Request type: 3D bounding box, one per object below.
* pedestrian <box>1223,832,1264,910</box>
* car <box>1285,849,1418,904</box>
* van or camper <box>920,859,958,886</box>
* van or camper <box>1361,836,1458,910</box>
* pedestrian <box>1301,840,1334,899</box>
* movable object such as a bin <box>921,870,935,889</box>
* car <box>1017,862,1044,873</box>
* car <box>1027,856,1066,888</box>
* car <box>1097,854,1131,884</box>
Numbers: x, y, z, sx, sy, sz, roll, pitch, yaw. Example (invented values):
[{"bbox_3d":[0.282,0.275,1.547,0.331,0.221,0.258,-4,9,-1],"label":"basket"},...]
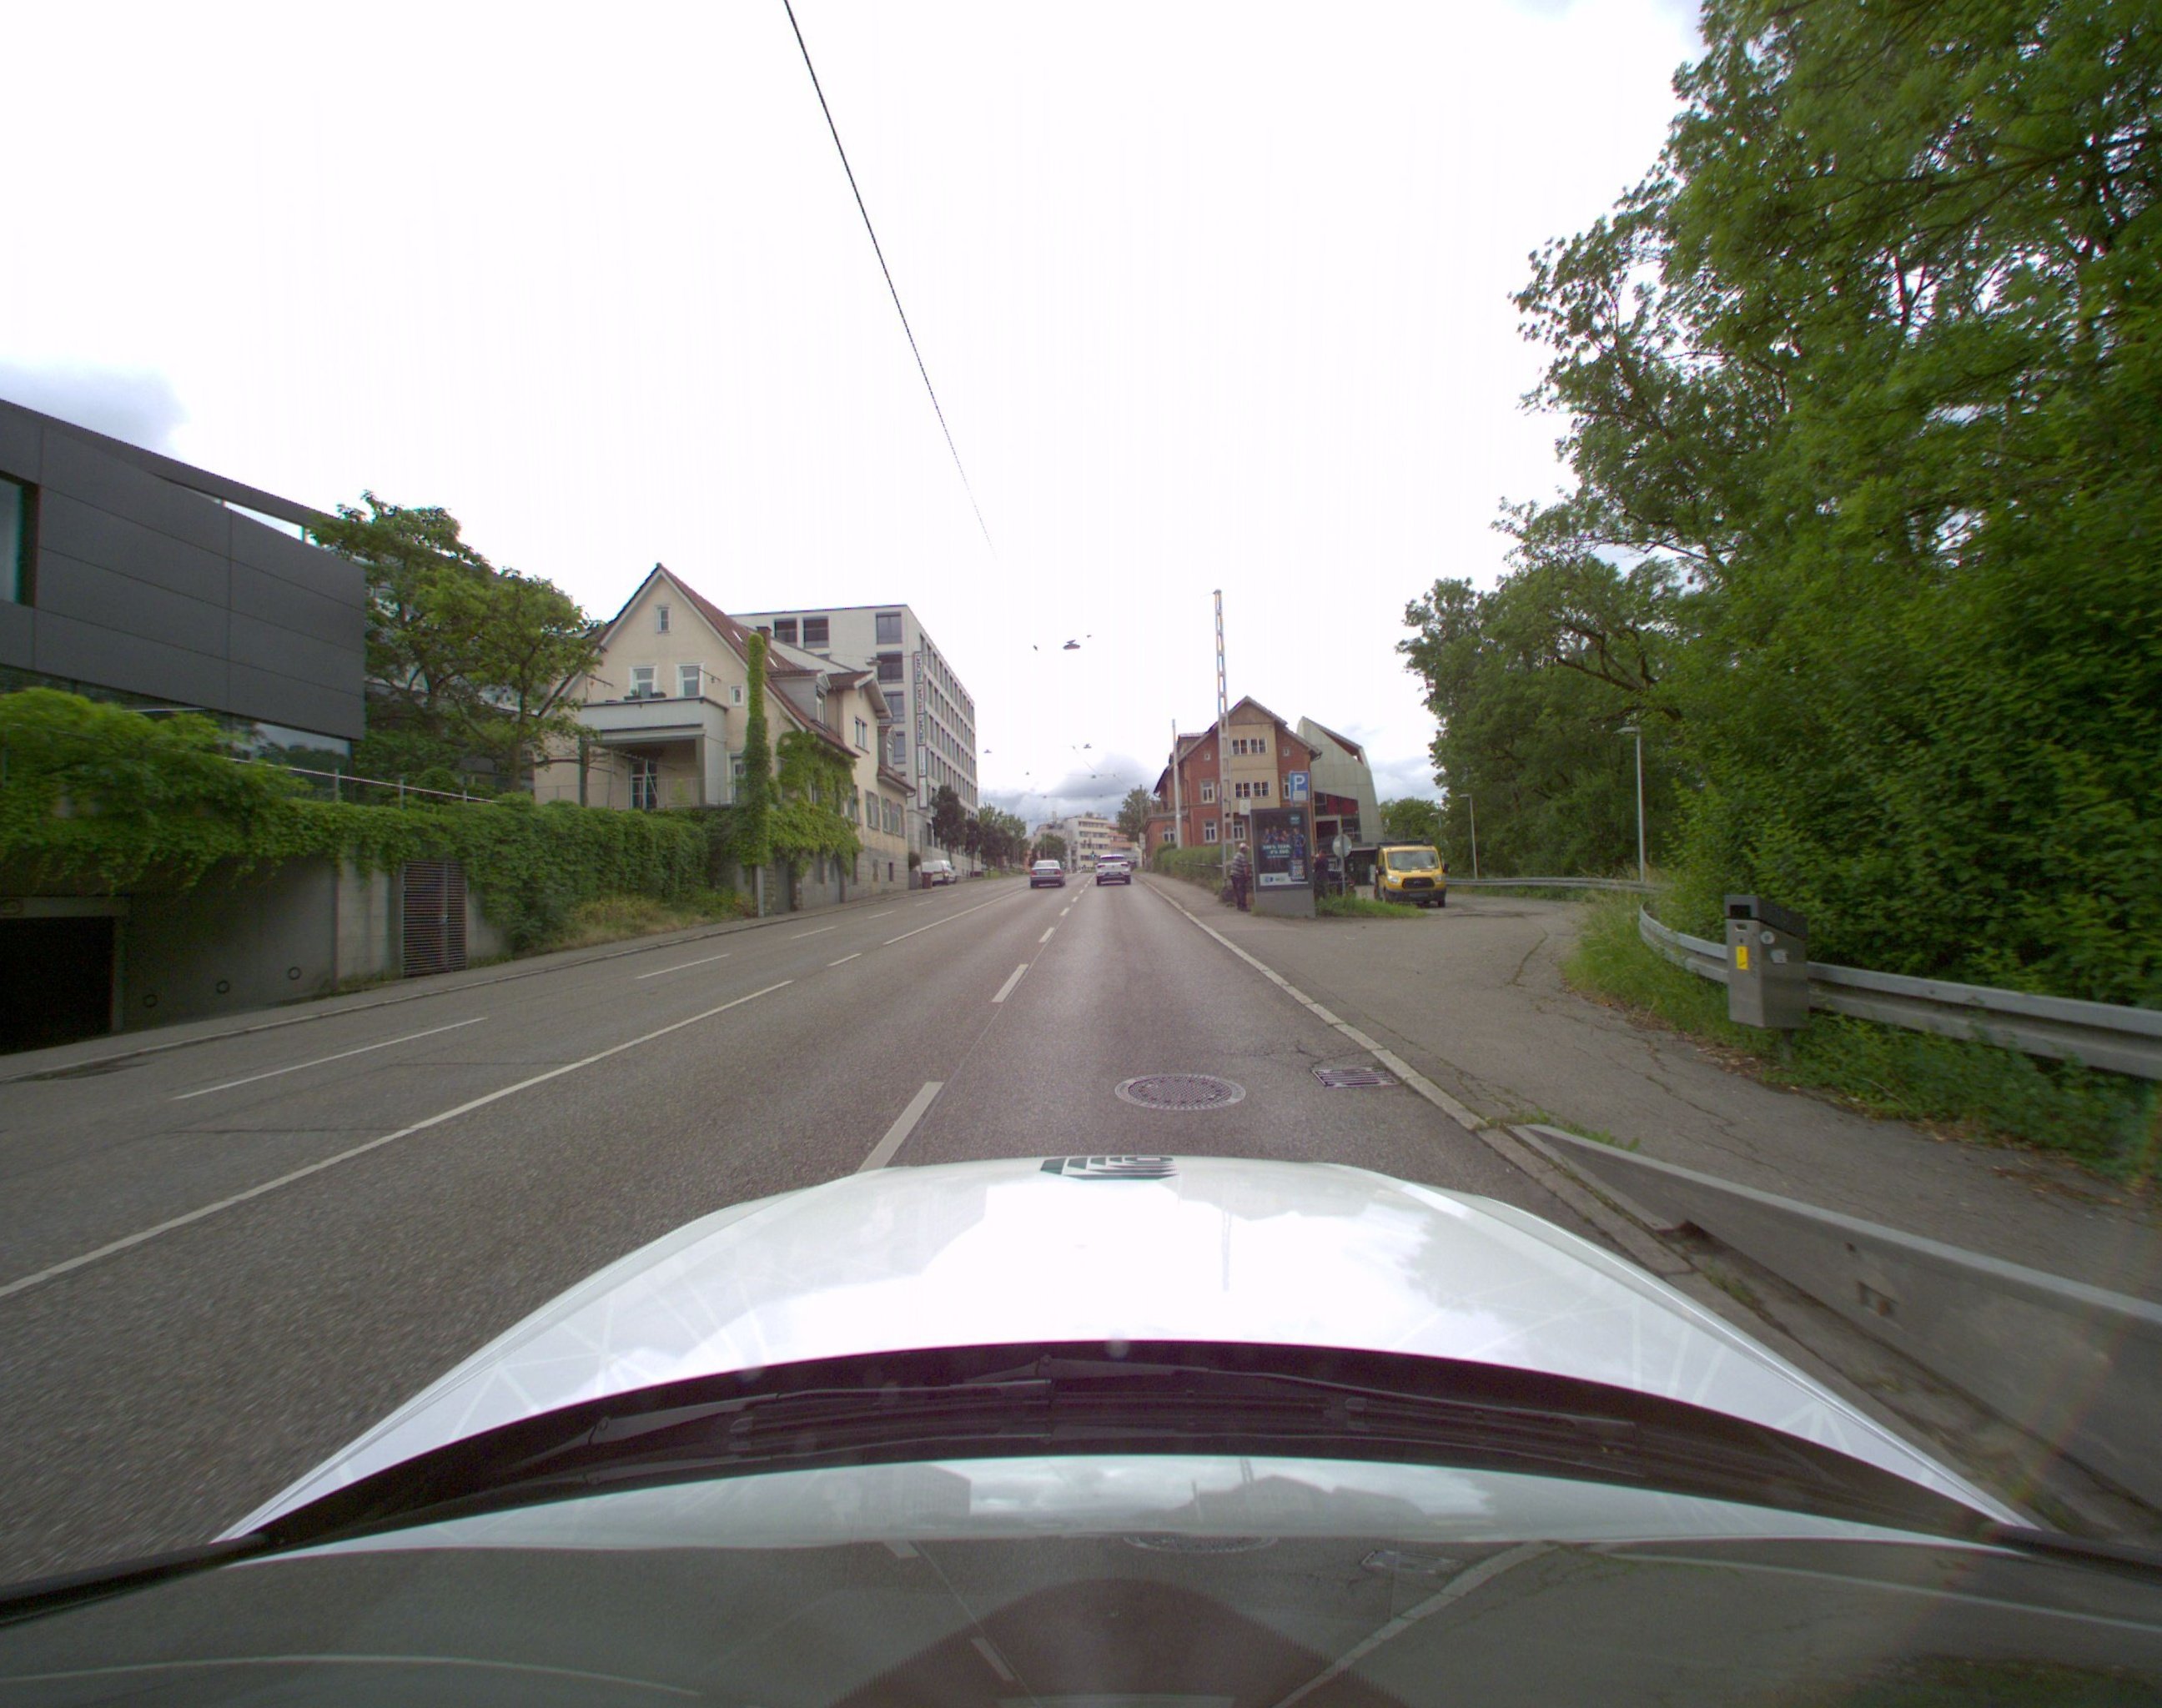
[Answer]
[{"bbox_3d":[4.095,0.419,20.585,0.808,1.884,0.950,-4,0,6],"label":"pedestrian"},{"bbox_3d":[7.964,0.647,24.187,3.473,1.541,1.579,0,0,3],"label":"car"},{"bbox_3d":[-11.139,1.435,64.170,2.054,1.968,4.871,-3,0,-1],"label":"van or camper"},{"bbox_3d":[12.058,0.610,30.359,2.201,2.329,6.200,-4,0,12],"label":"van or camper"},{"bbox_3d":[6.522,0.428,22.484,0.643,1.571,0.586,-4,0,2],"label":"pedestrian"},{"bbox_3d":[-9.598,1.589,51.089,0.808,1.189,0.697,1,-1,-4],"label":"movable object such as a bin"},{"bbox_3d":[-7.730,2.129,125.314,4.023,1.544,1.759,-1,-2,-44],"label":"car"},{"bbox_3d":[-1.740,0.884,41.955,1.693,1.516,3.737,-3,0,2],"label":"car"},{"bbox_3d":[1.710,0.759,42.858,1.693,1.548,3.737,0,0,2],"label":"car"}]
